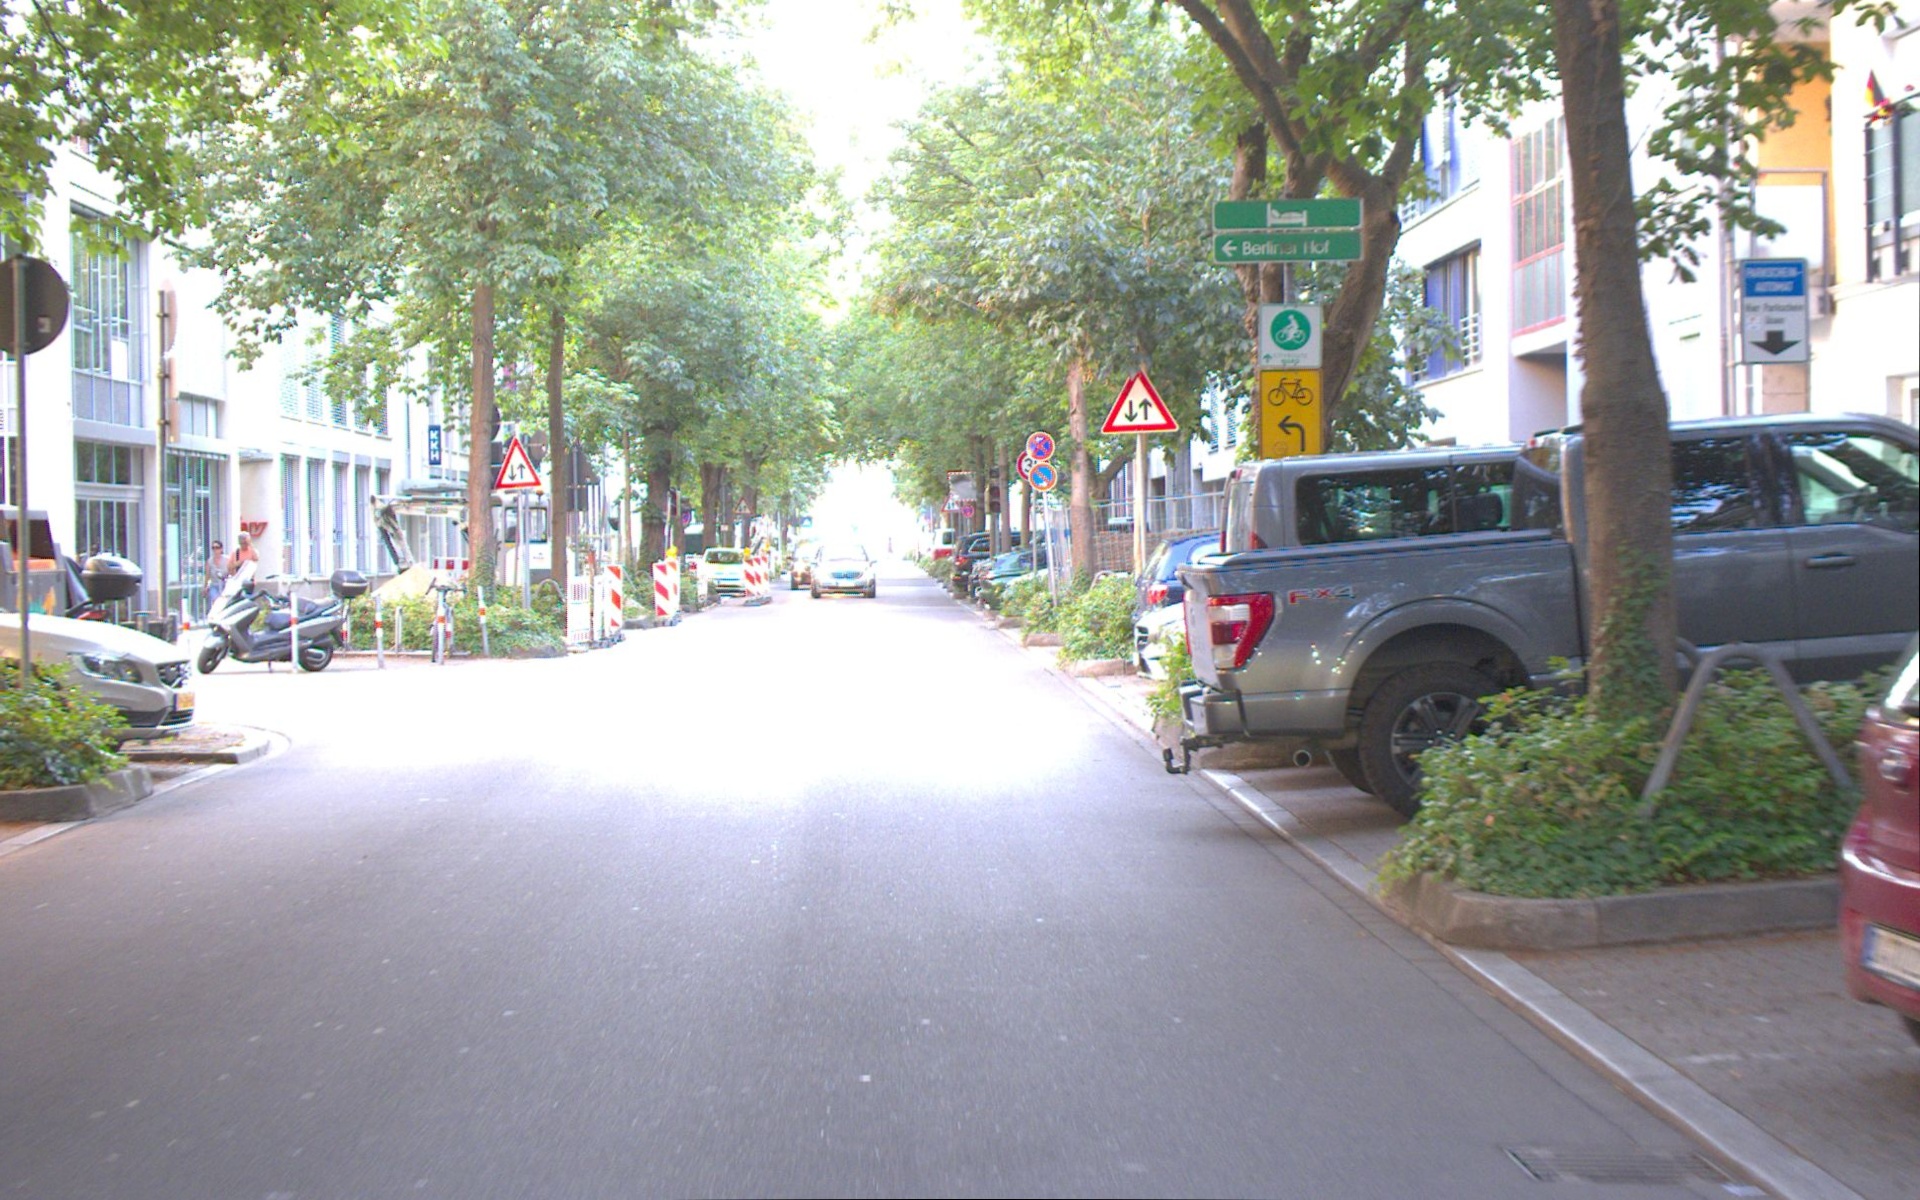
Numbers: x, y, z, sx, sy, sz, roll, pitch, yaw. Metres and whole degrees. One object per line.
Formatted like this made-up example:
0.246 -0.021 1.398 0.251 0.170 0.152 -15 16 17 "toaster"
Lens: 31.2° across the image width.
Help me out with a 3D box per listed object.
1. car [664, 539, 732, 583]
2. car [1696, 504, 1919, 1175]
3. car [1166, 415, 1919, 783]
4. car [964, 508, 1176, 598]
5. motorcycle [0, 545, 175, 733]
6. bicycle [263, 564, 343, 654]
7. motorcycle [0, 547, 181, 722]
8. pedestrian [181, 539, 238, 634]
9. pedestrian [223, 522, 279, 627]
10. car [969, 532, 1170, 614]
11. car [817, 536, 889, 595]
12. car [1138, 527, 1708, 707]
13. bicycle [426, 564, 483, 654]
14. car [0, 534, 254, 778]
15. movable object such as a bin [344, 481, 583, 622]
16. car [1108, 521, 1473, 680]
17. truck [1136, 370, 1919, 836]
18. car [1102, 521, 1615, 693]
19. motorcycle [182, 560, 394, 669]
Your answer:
-8.075 -1.221 105.677 1.993 1.284 4.001 -1 1 -5 "car"
4.032 0.444 8.809 3.776 1.539 1.878 -3 1 -2 "car"
3.690 -0.036 21.163 4.600 2.059 2.198 -1 1 -2 "car"
2.492 -1.094 78.836 4.738 2.007 2.000 0 1 -2 "car"
-7.435 0.301 26.660 2.453 1.415 0.911 -1 1 1 "motorcycle"
-8.847 0.106 46.355 0.683 1.148 1.981 -1 1 0 "bicycle"
-7.662 0.278 28.732 2.250 1.415 0.851 0 1 30 "motorcycle"
-12.196 -0.227 55.896 0.769 1.530 0.643 -1 1 -1 "pedestrian"
-11.459 -0.418 55.578 0.739 1.684 0.607 -1 1 0 "pedestrian"
2.203 -0.561 69.818 3.987 1.579 2.000 -1 1 1 "car"
-3.107 -1.012 99.229 2.009 1.607 4.120 -1 1 -2 "car"
4.018 0.130 30.455 4.782 1.515 1.991 0 1 0 "car"
-6.813 0.105 46.407 0.683 1.148 1.981 -1 1 -6 "bicycle"
-7.250 0.346 22.951 4.619 1.547 2.075 0 1 1 "car"
-8.748 -0.871 60.898 4.045 2.375 2.785 -1 1 -7 "movable object such as a bin"
3.364 -0.009 35.499 3.538 1.558 1.832 -1 1 -1 "car"
3.965 -0.017 18.423 5.887 2.303 2.212 -1 1 0 "truck"
3.736 0.046 32.844 4.621 1.566 2.011 0 1 -1 "car"
-8.344 0.161 42.768 2.350 1.277 1.067 -2 2 -41 "motorcycle"
